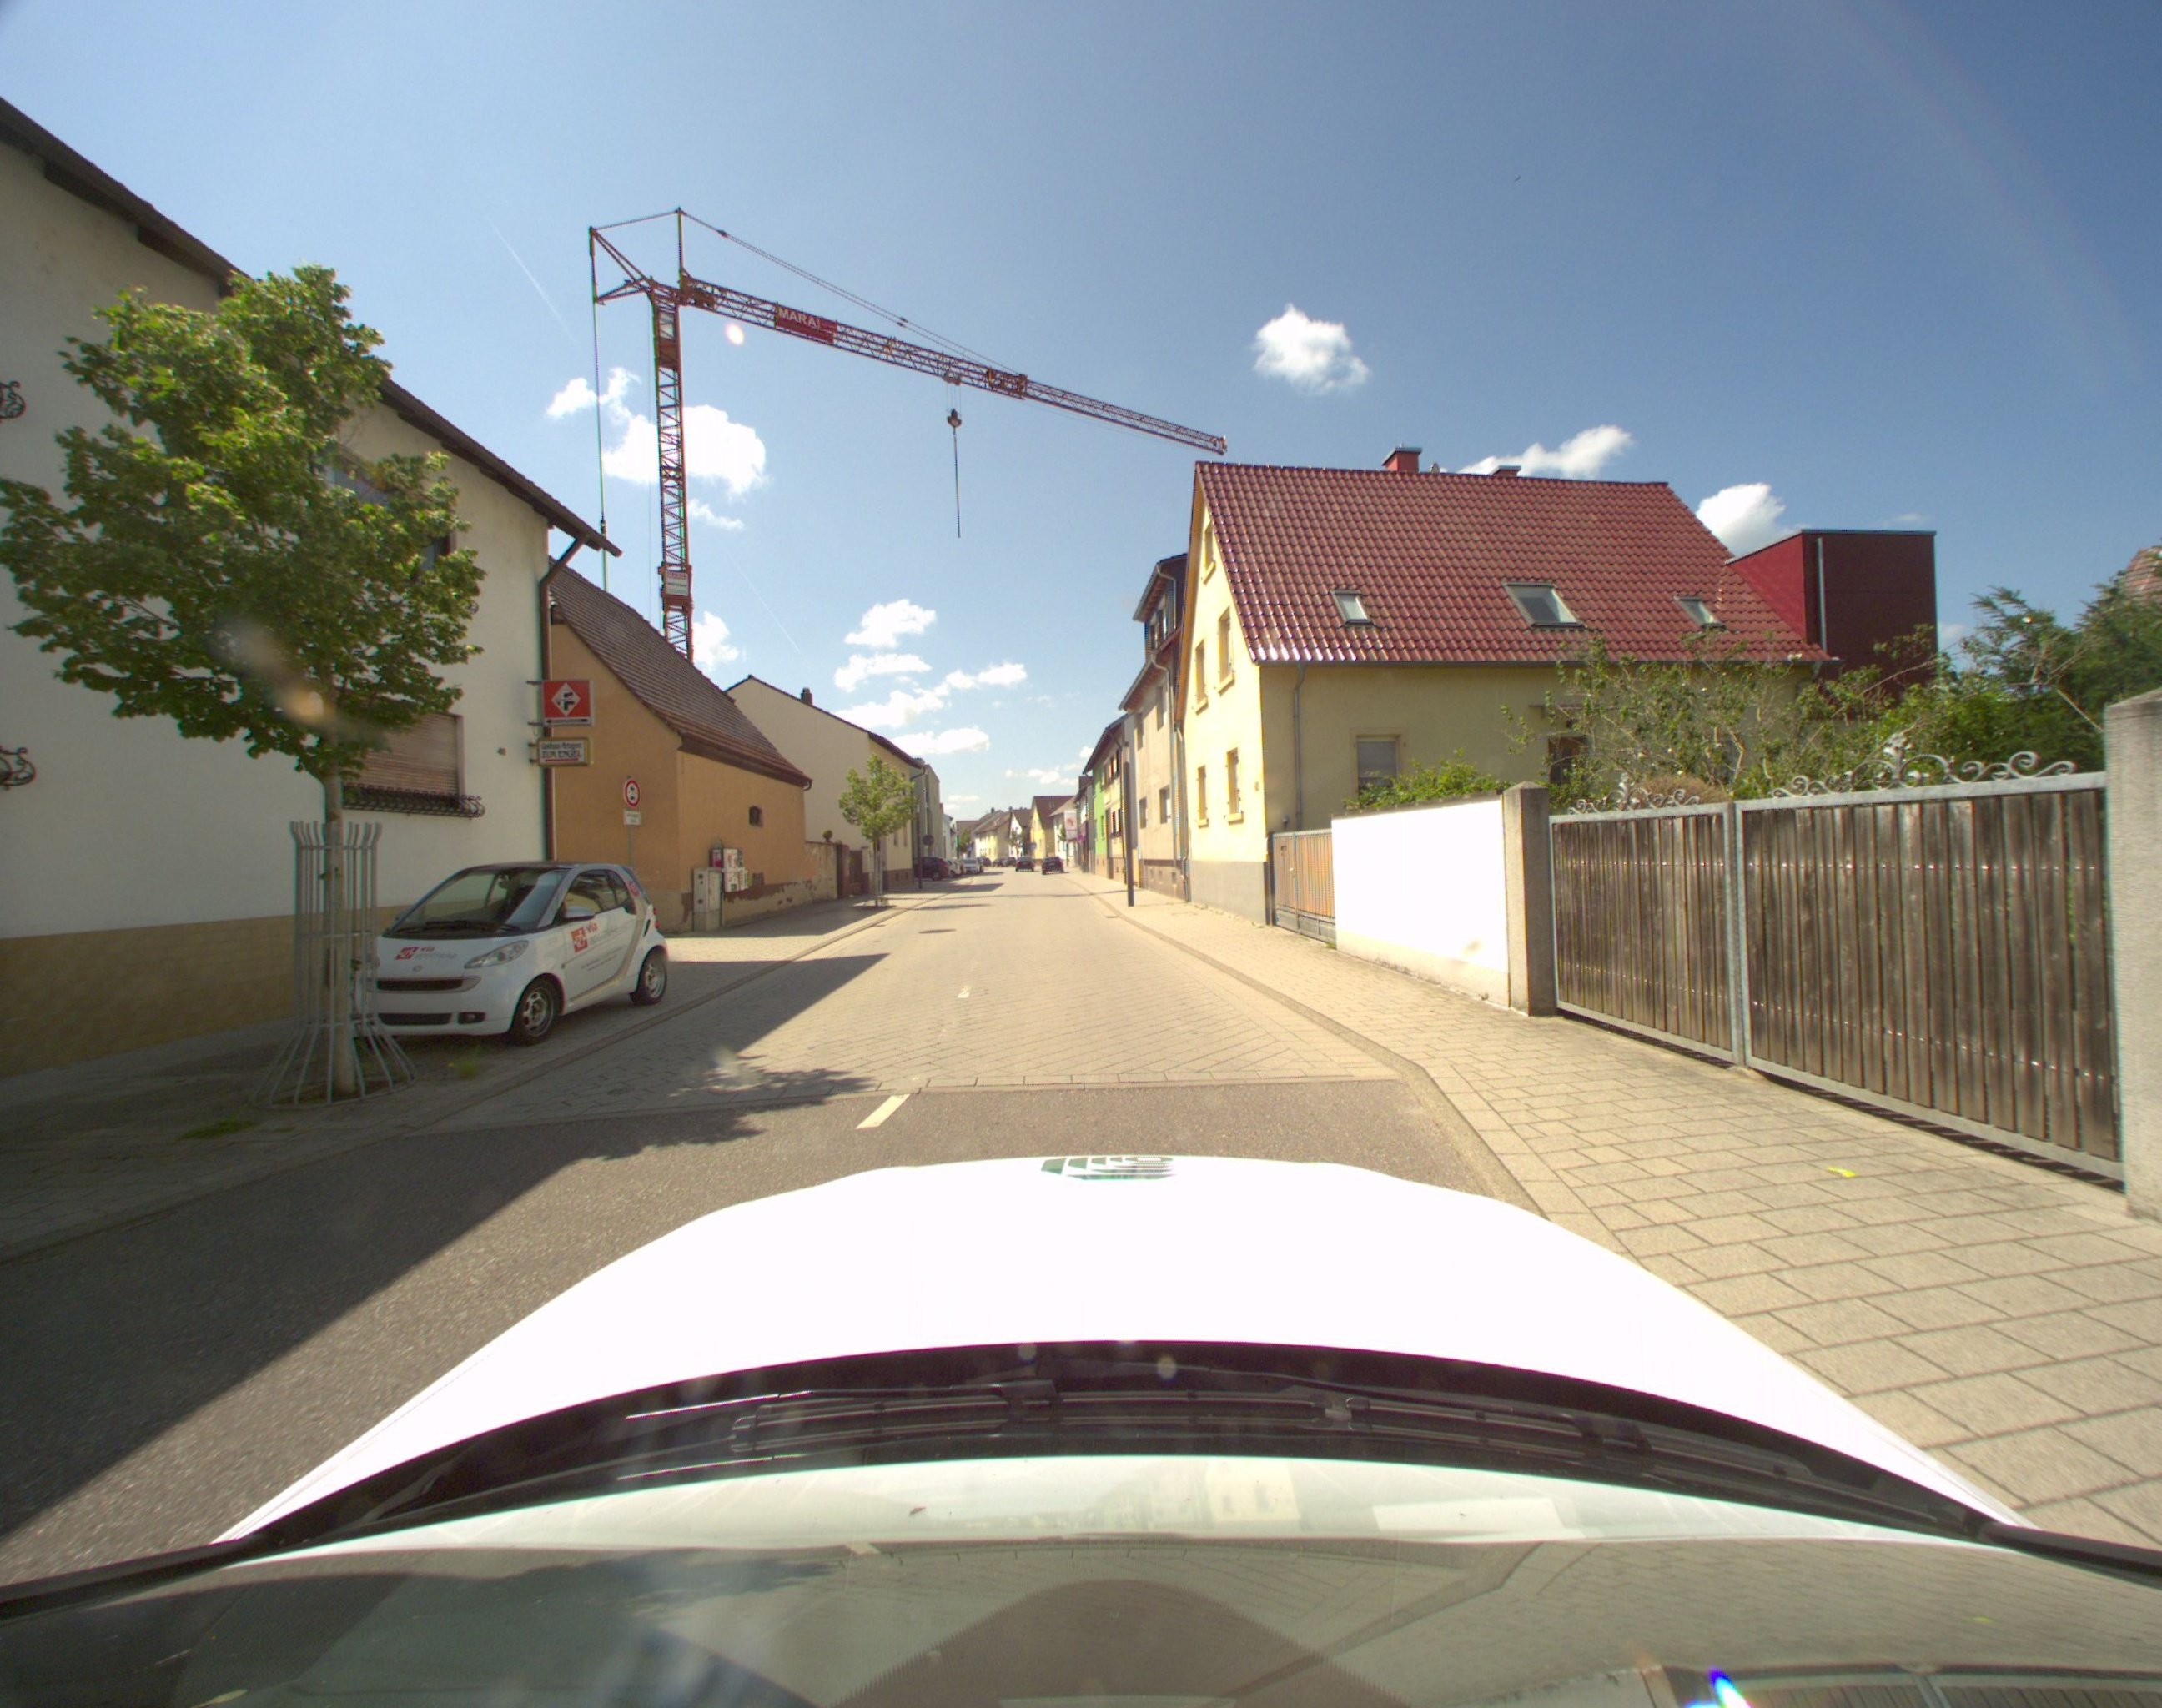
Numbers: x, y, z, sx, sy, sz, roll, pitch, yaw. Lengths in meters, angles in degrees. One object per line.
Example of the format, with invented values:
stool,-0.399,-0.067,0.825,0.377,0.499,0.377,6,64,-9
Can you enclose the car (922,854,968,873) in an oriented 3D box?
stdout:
car,-11.462,0.780,68.816,3.683,1.525,1.671,0,0,-3

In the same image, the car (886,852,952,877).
car,-11.038,0.699,55.768,4.211,1.658,1.782,0,0,-4

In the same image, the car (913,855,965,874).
car,-11.469,0.860,65.885,3.978,1.441,1.689,1,0,-4

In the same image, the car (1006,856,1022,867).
car,-10.266,1.116,124.495,1.850,1.562,3.674,-2,0,-15

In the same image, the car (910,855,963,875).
car,-11.247,0.836,63.591,3.891,1.502,1.749,1,0,-2

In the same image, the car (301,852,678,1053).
car,-5.326,0.769,7.792,1.568,1.561,2.820,0,0,-2

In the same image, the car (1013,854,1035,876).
car,-5.683,1.086,80.927,1.991,2.057,4.365,-2,0,-6

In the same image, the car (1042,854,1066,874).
car,-2.245,0.783,68.436,1.853,1.459,4.584,-4,0,-1

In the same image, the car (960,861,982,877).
car,-10.374,1.382,77.098,1.754,1.411,3.873,0,0,-3

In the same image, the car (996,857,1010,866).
car,-12.678,1.233,131.882,1.714,1.387,3.686,-2,0,-15

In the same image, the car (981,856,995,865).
car,-16.541,1.165,145.155,1.881,1.591,3.979,-2,0,-15
